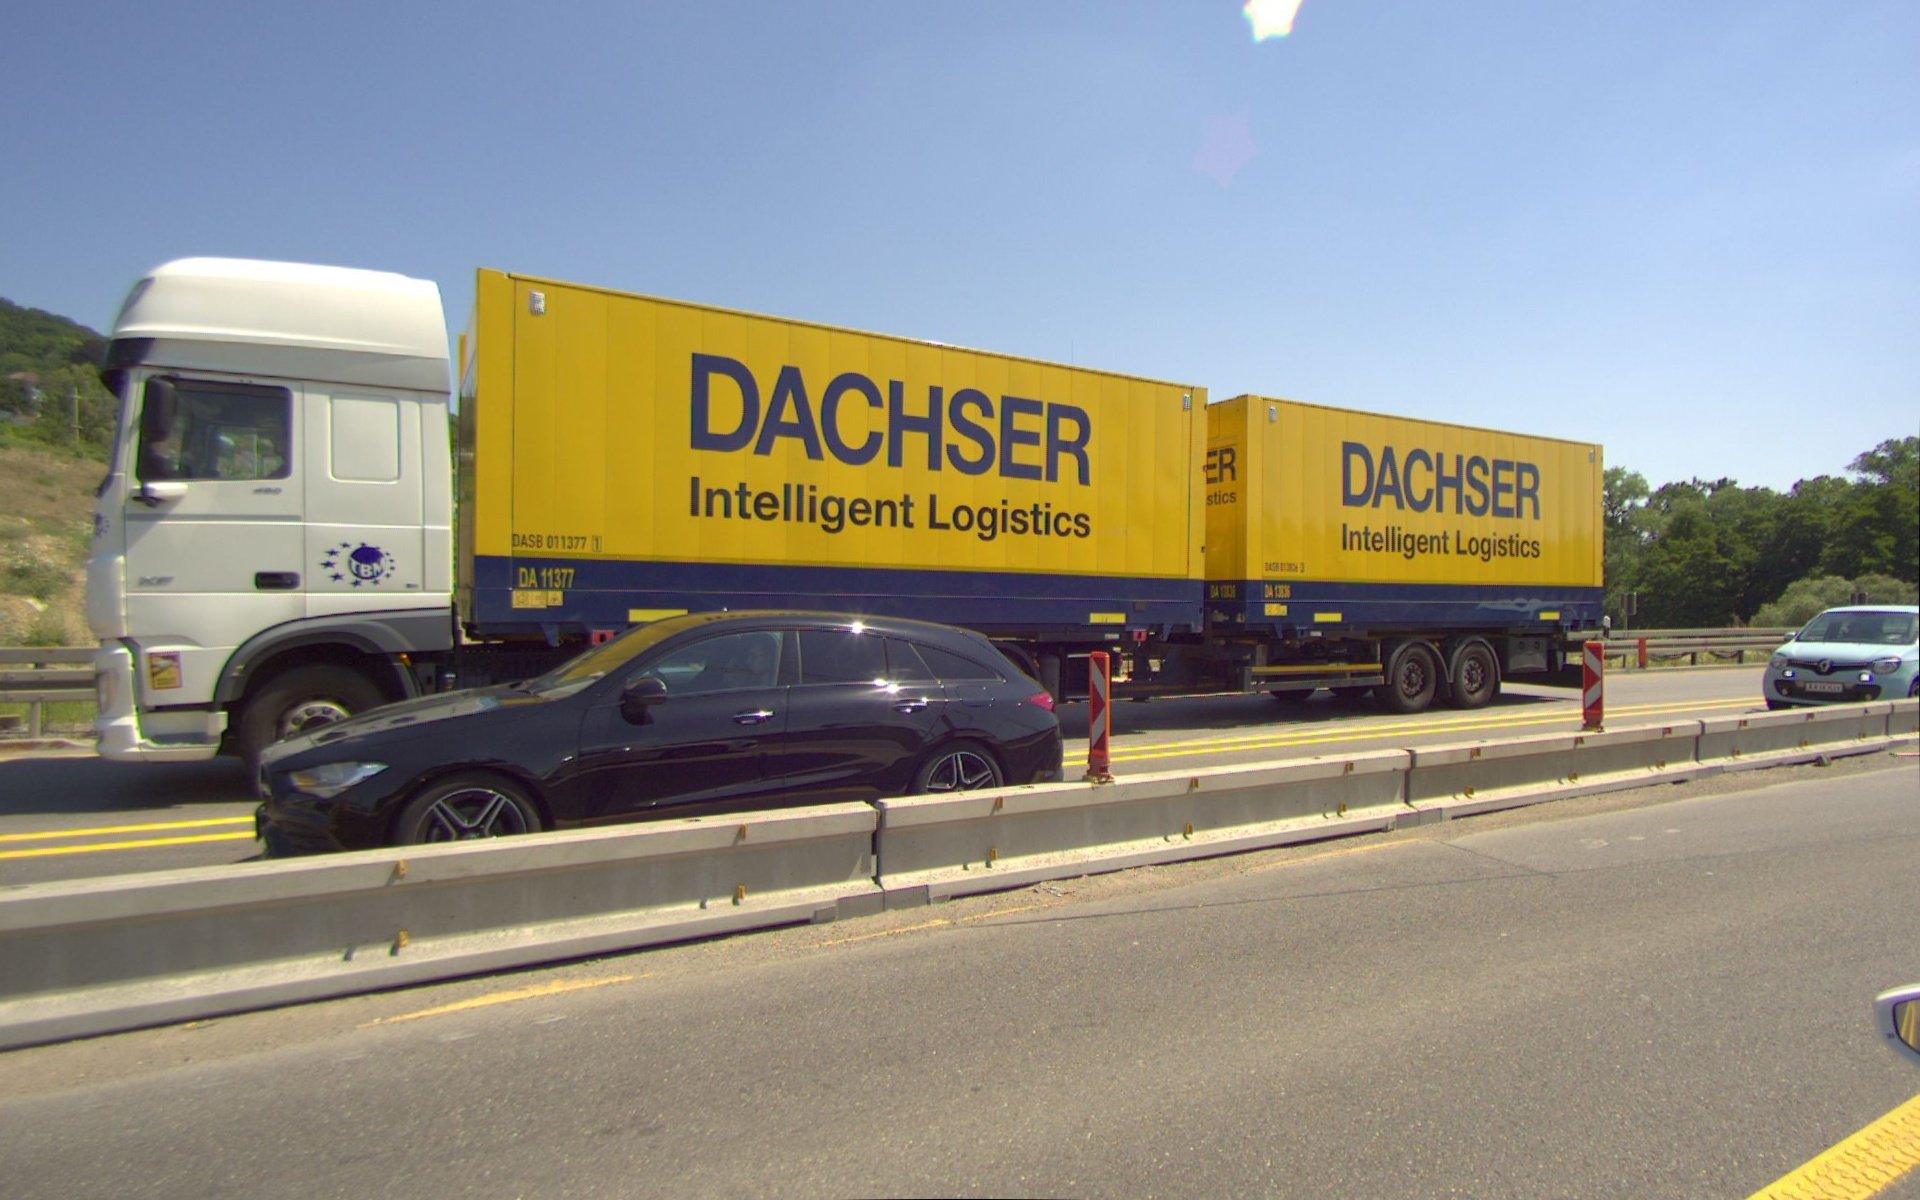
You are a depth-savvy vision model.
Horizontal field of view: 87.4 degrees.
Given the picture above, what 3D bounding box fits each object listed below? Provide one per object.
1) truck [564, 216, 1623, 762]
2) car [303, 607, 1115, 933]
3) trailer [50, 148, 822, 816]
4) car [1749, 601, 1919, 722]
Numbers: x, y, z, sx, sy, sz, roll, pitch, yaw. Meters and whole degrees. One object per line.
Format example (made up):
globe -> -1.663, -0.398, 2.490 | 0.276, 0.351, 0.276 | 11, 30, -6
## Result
truck -> 3.118, -0.756, 13.155 | 15.193, 4.400, 2.793 | 1, 0, -30
car -> -1.320, 0.766, 6.195 | 4.449, 1.380, 1.668 | 1, 0, -30
trailer -> -4.200, -0.693, 8.956 | 5.155, 4.286, 2.853 | 2, 0, -29
car -> 13.349, 0.792, 14.500 | 3.949, 1.506, 1.630 | -1, 1, -28
